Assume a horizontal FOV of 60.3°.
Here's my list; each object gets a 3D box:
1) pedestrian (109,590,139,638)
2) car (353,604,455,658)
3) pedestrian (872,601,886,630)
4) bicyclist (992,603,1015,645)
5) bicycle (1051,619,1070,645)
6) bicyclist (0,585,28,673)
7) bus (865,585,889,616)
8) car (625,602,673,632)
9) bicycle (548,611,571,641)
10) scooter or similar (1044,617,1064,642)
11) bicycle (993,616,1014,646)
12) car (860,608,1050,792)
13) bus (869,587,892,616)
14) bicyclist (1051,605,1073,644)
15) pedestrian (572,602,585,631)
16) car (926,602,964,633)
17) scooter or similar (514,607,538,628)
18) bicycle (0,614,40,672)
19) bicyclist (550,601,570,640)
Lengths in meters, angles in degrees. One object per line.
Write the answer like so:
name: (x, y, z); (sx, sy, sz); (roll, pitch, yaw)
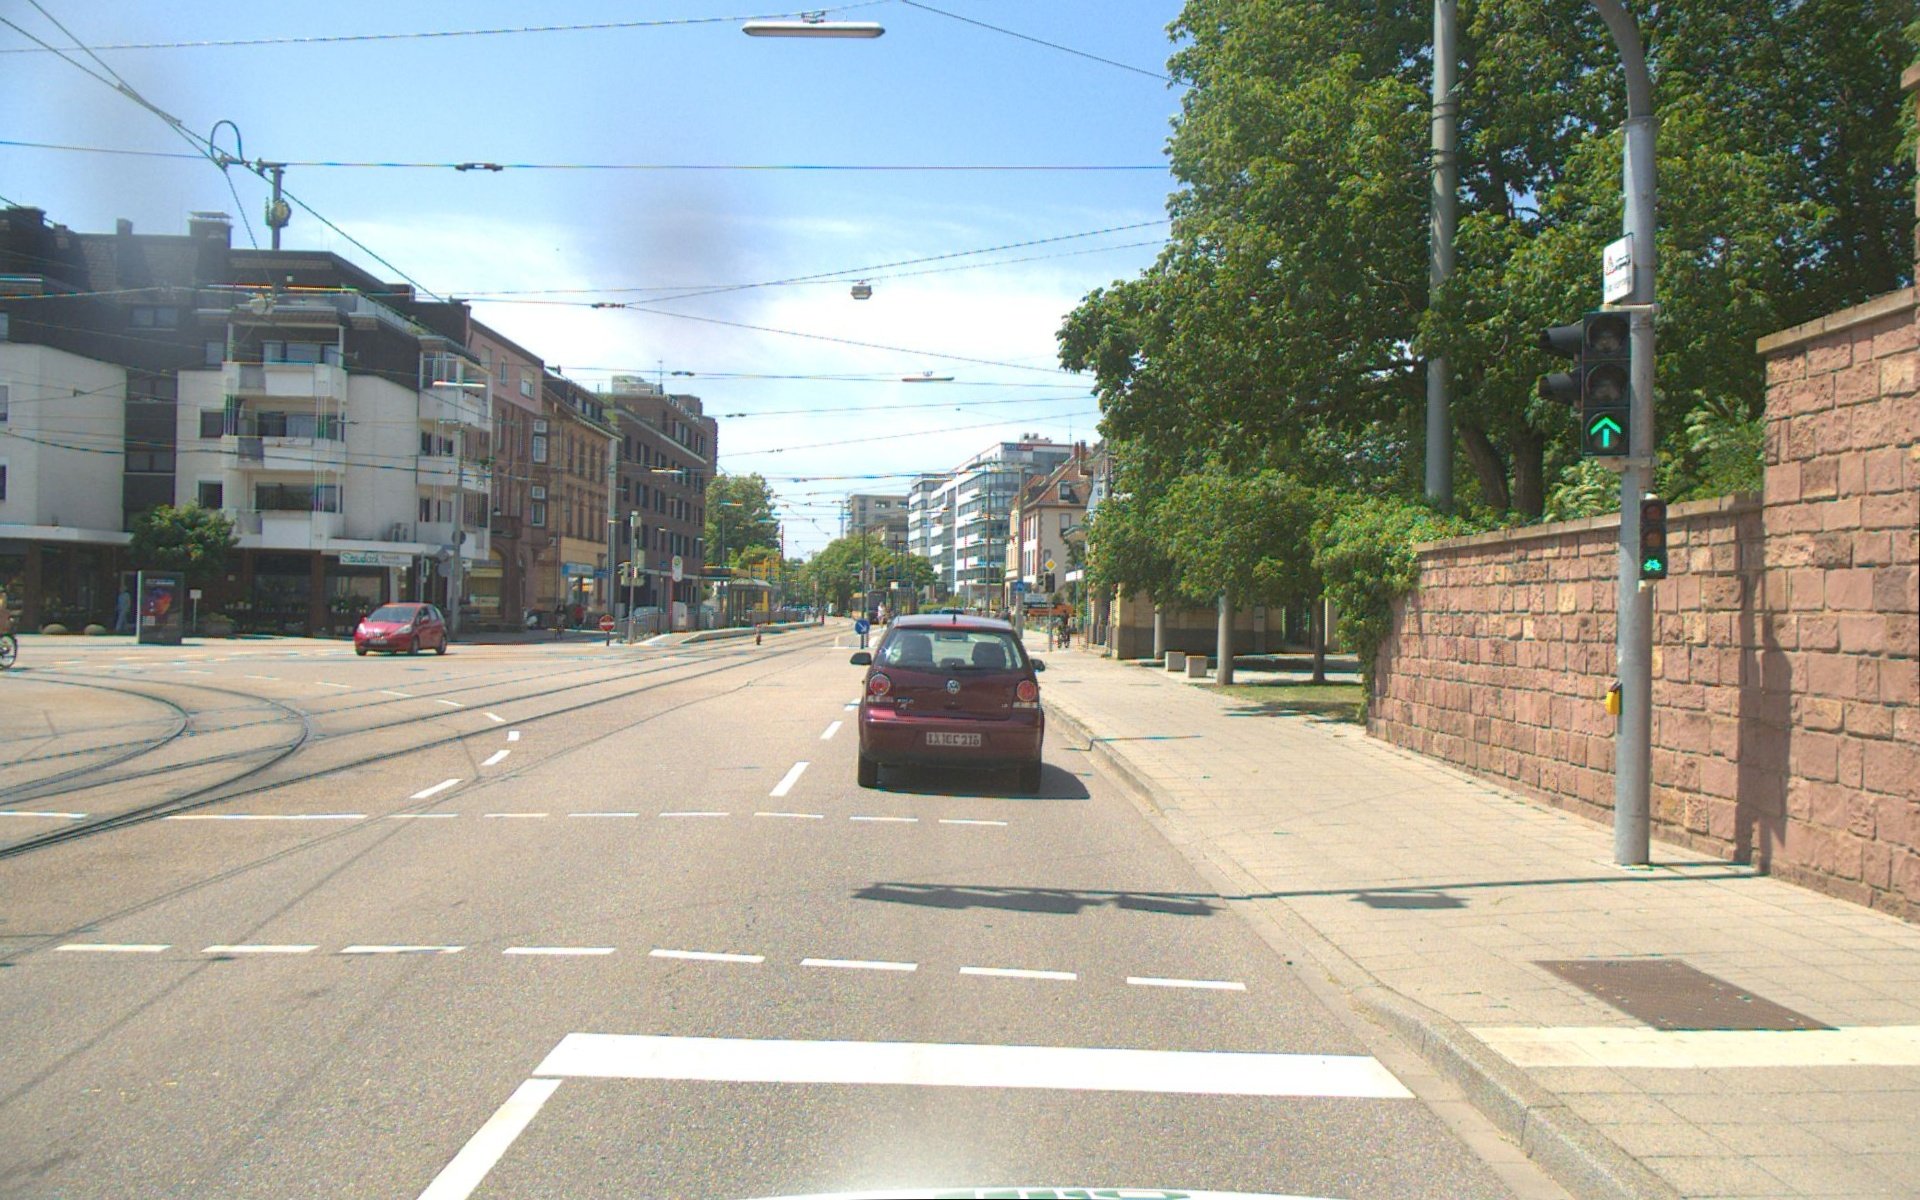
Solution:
pedestrian: (-31.049, 0.519, 61.442); (0.685, 1.726, 0.807); (1, -1, -3)
car: (-16.359, 0.887, 48.832); (1.590, 1.510, 3.830); (1, 0, 2)
pedestrian: (-4.778, 0.904, 97.626); (0.747, 1.704, 1.100); (1, -1, 0)
bicyclist: (1.837, 1.014, 70.117); (0.712, 1.791, 0.924); (0, 0, 18)
bicycle: (4.362, 1.386, 72.060); (0.654, 1.020, 1.863); (-2, 1, 0)
bicyclist: (-20.064, 0.582, 34.425); (0.680, 1.796, 1.137); (1, 0, -1)
bus: (-8.503, 0.074, 169.762); (2.101, 3.056, 6.572); (1, 0, -1)
car: (-16.087, 0.866, 85.702); (1.674, 1.464, 3.865); (1, 0, 1)
bicycle: (-18.769, 1.213, 77.535); (0.663, 1.327, 2.104); (1, 0, -3)
scooter or similar: (4.478, 1.402, 78.755); (0.335, 1.198, 1.457); (1, -1, -24)
bicycle: (1.853, 1.313, 69.994); (0.367, 1.218, 1.906); (0, 0, 18)
car: (-0.070, 0.826, 14.998); (1.529, 1.479, 3.061); (1, 0, -1)
bus: (-8.481, 0.158, 176.337); (2.187, 3.056, 6.592); (1, 0, -1)
bicyclist: (4.440, 1.075, 71.988); (0.815, 1.646, 0.860); (-2, 0, 0)
pedestrian: (-20.809, 0.897, 90.221); (0.602, 1.588, 0.640); (1, 0, -1)
car: (-0.824, 0.964, 93.227); (1.952, 1.653, 4.632); (1, 0, 1)
scooter or similar: (-22.610, 0.905, 86.243); (0.477, 1.101, 1.578); (0, 0, 16)
bicycle: (-20.073, 0.891, 34.506); (0.680, 1.169, 1.931); (1, 1, -1)
bicyclist: (-18.767, 0.969, 77.632); (0.717, 1.793, 1.134); (1, 0, -3)
